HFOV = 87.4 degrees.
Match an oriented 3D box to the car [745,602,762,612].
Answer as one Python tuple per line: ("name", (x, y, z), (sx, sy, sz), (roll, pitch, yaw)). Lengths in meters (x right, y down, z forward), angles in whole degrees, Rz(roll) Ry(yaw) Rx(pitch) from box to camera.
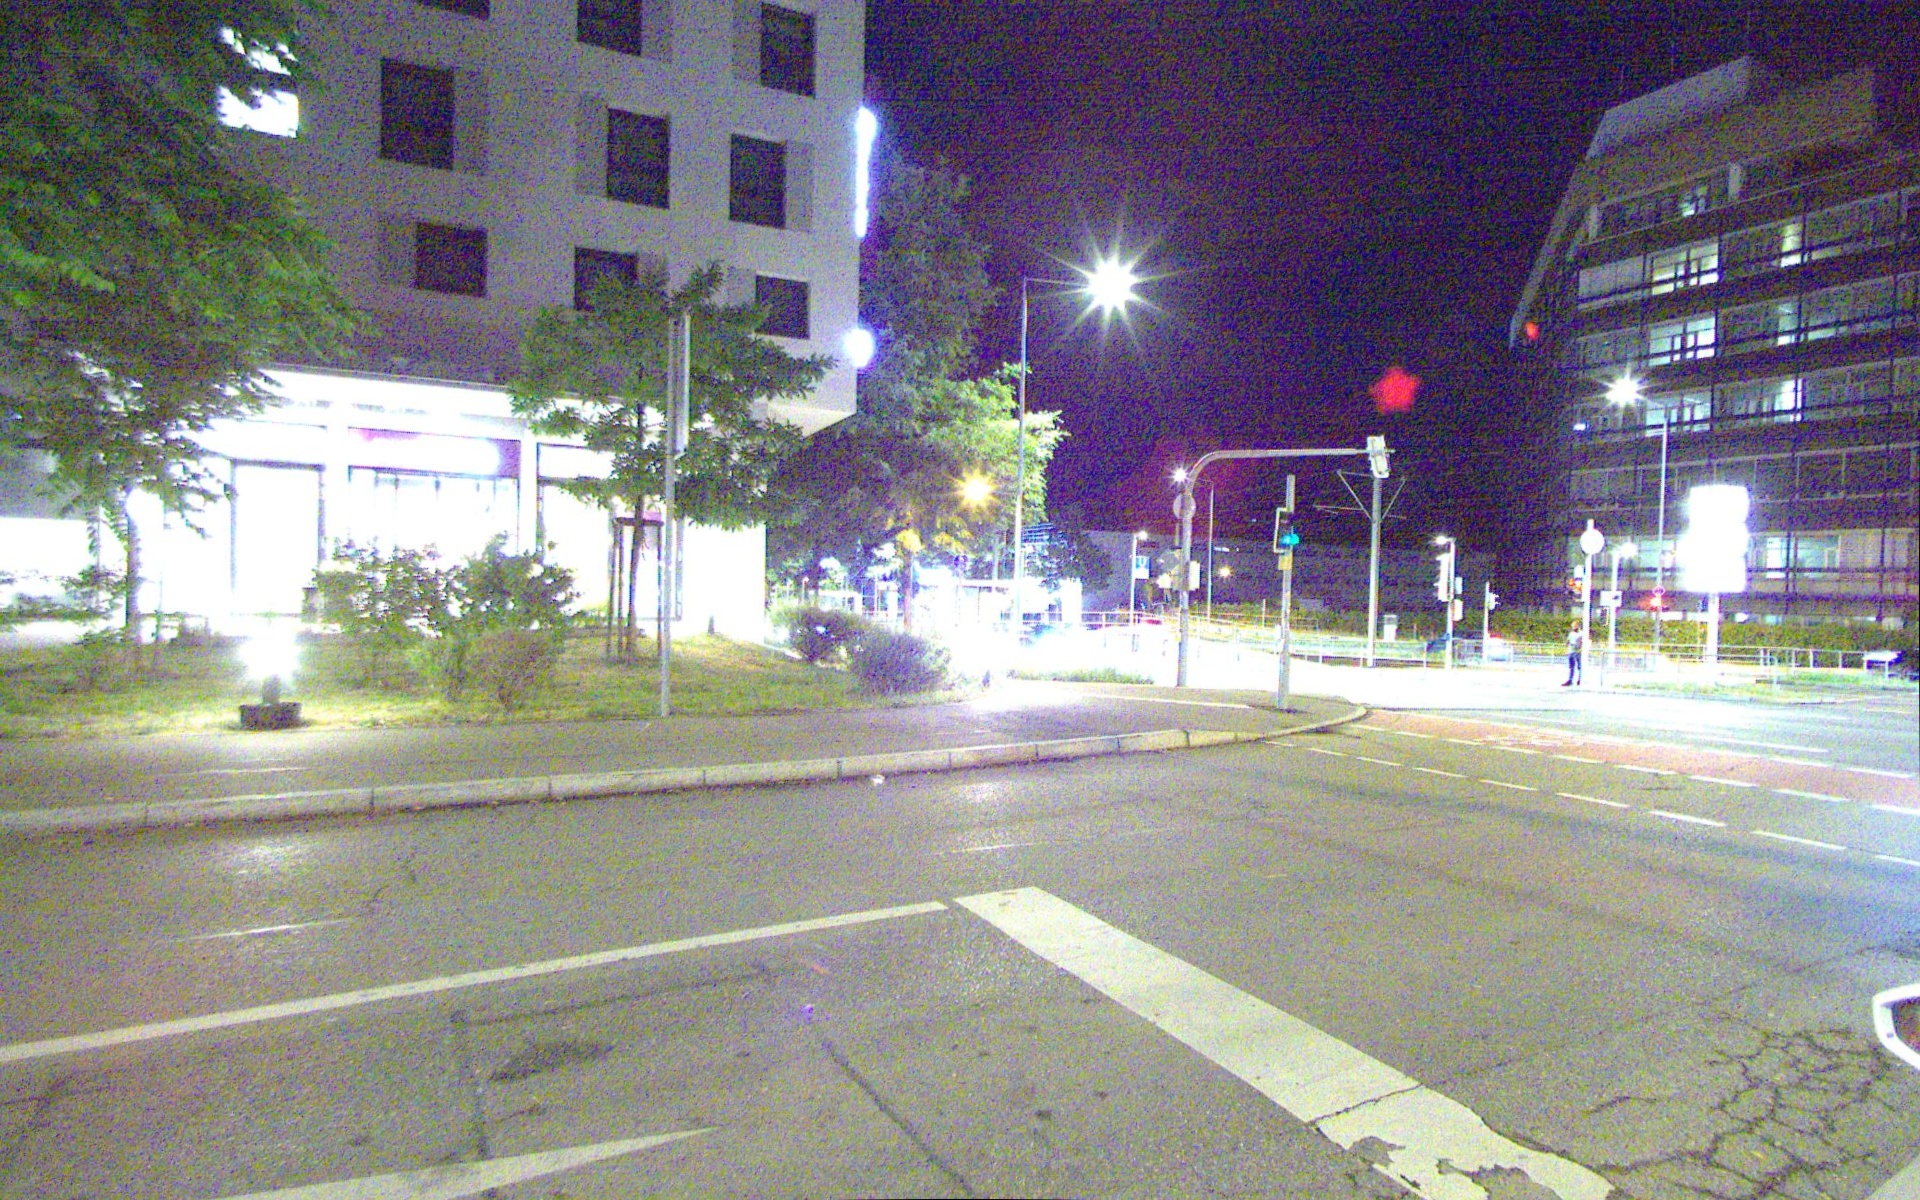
("car", (-33.466, 1.138, 162.930), (1.845, 1.506, 3.822), (3, 0, -26))

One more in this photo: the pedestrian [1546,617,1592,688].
("pedestrian", (15.643, 1.342, 25.816), (0.693, 1.745, 0.679), (2, 0, -3))

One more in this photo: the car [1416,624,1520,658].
("car", (23.587, 1.879, 46.765), (1.818, 1.443, 4.047), (-1, 0, -26))

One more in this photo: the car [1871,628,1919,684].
("car", (28.801, 1.619, 28.543), (1.782, 1.606, 3.969), (1, -1, -30))

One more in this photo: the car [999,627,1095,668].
("car", (3.403, 1.854, 40.189), (1.722, 1.439, 4.557), (-2, -1, -26))

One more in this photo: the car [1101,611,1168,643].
("car", (11.308, 1.737, 65.298), (1.819, 1.869, 4.763), (3, 0, -26))

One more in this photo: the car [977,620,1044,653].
("car", (2.419, 1.766, 49.365), (1.719, 1.439, 4.241), (-1, 0, -22))

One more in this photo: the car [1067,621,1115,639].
("car", (10.590, 2.424, 81.649), (1.819, 1.406, 4.313), (3, -2, -26))
